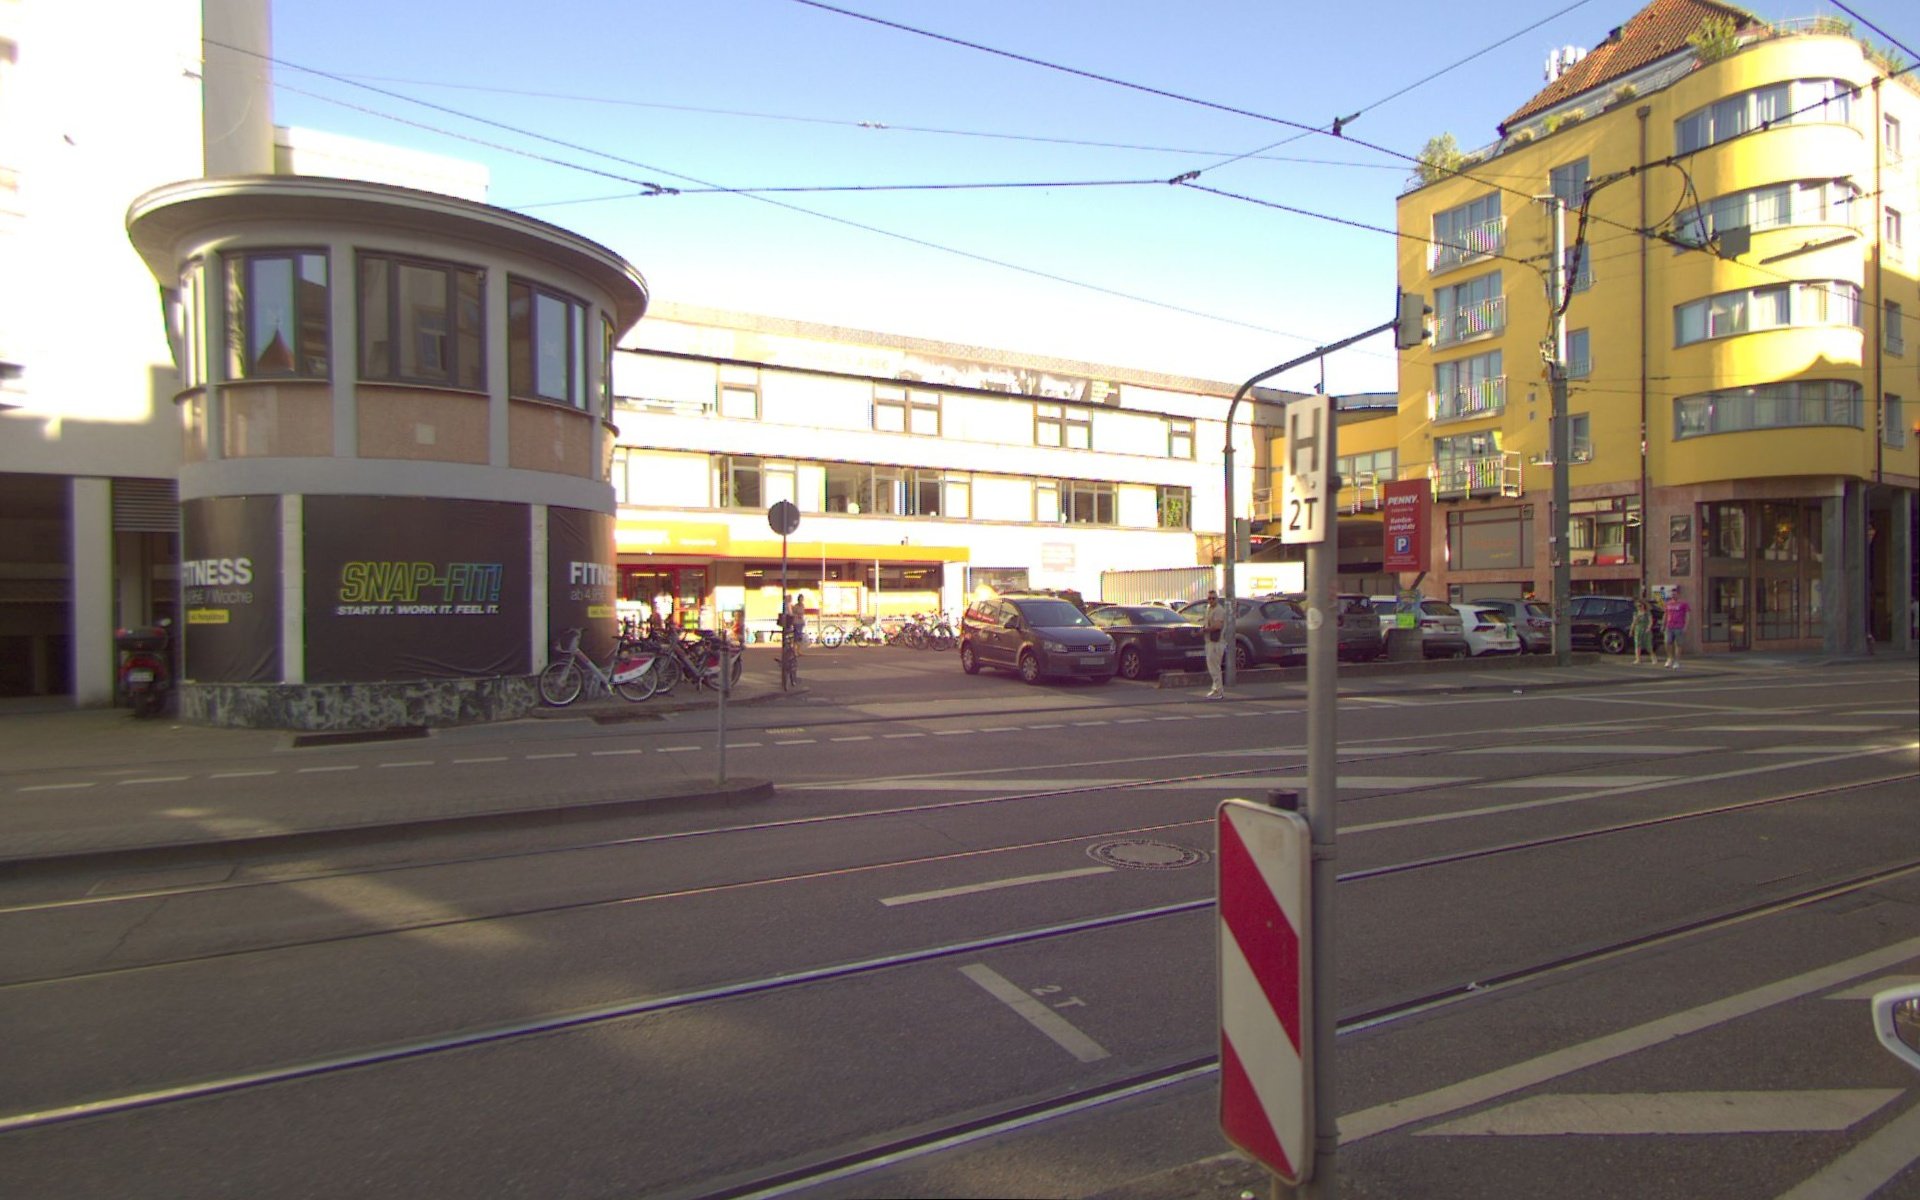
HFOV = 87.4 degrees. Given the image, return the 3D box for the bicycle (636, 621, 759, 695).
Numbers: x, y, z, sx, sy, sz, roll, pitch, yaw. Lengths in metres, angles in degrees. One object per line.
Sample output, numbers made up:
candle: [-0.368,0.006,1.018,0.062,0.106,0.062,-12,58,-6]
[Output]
bicycle: [-4.152,0.895,15.994,1.862,1.094,0.460,-1,0,-38]

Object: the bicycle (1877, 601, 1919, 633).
bicycle: [36.231,0.645,38.729,2.053,1.219,0.579,0,0,-26]

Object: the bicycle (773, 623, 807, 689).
bicycle: [-2.931,0.939,17.443,0.417,1.050,1.878,-1,0,-5]

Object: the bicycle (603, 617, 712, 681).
bicycle: [-5.487,0.868,18.297,1.863,1.091,0.459,-1,0,-40]

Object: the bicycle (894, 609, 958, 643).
bicycle: [-1.051,0.804,31.440,2.040,1.028,0.501,0,0,-33]

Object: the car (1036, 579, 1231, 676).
car: [3.514,0.547,21.119,1.764,1.836,4.214,0,-1,-30]

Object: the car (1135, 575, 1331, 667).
car: [5.933,0.432,22.329,1.764,1.836,4.214,0,0,-29]

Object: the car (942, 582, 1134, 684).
car: [1.421,0.554,19.929,1.764,1.787,4.213,0,1,-30]

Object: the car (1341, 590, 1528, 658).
car: [12.294,0.585,26.296,1.764,1.631,4.214,0,0,-30]

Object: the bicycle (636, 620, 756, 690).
bicycle: [-4.303,0.875,16.468,1.862,1.050,0.460,-1,0,-38]

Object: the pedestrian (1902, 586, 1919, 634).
pedestrian: [36.115,0.357,37.940,0.713,1.793,0.559,0,0,-26]

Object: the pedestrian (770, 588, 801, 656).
pedestrian: [-4.480,0.559,25.794,0.647,1.718,0.478,0,0,-32]

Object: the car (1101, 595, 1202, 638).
car: [6.900,0.576,36.477,1.677,1.499,3.559,0,0,-32]

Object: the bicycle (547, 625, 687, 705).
bicycle: [-4.954,0.916,14.590,1.862,1.050,0.520,-1,0,-38]

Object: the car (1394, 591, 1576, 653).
car: [14.452,0.636,27.879,1.764,1.568,4.214,2,-2,-30]

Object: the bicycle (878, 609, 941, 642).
bicycle: [-1.609,0.816,32.307,2.040,1.028,0.492,0,0,-33]

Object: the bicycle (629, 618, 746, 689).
bicycle: [-4.559,0.868,16.908,1.862,1.102,0.460,-1,0,-38]

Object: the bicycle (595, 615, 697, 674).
bicycle: [-6.153,0.854,19.749,1.863,1.091,0.459,-1,0,-40]

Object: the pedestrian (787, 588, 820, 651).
pedestrian: [-4.261,0.523,27.255,0.683,1.656,0.635,-1,0,-31]

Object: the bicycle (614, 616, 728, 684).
bicycle: [-5.009,0.845,17.472,1.862,1.091,0.460,-1,0,-38]

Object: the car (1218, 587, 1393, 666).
car: [8.040,0.580,23.671,1.764,1.695,3.673,-1,0,-29]

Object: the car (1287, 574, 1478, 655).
car: [10.435,0.405,25.119,1.764,1.835,4.214,2,-2,-30]

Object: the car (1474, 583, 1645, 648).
car: [18.267,0.444,30.798,1.764,1.836,4.214,0,0,-30]

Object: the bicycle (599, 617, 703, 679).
bicycle: [-5.886,0.896,19.212,1.863,1.091,0.459,-1,0,-40]

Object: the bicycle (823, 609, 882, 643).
bicycle: [-3.330,0.788,31.077,1.802,1.028,0.366,0,0,-27]

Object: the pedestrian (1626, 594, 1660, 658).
pedestrian: [17.631,0.660,25.942,0.493,1.639,0.569,0,0,-31]

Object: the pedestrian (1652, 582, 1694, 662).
pedestrian: [17.830,0.536,25.113,0.701,1.972,0.634,0,0,-31]

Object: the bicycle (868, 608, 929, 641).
bicycle: [-2.010,0.797,32.957,2.040,1.028,0.501,0,0,-33]

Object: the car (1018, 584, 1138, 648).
car: [3.393,0.440,29.390,1.677,1.772,3.559,0,0,-32]

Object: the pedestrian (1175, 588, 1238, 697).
pedestrian: [4.185,0.700,17.045,0.773,1.788,0.708,-1,1,-37]

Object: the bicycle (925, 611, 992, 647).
bicycle: [-0.041,0.847,29.705,2.040,1.028,0.506,0,0,-33]

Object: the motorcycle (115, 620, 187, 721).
motorcycle: [-11.401,0.948,14.196,0.668,1.280,1.968,-1,1,-36]

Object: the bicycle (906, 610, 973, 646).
bicycle: [-0.606,0.829,30.181,2.040,1.028,0.510,0,0,-33]
